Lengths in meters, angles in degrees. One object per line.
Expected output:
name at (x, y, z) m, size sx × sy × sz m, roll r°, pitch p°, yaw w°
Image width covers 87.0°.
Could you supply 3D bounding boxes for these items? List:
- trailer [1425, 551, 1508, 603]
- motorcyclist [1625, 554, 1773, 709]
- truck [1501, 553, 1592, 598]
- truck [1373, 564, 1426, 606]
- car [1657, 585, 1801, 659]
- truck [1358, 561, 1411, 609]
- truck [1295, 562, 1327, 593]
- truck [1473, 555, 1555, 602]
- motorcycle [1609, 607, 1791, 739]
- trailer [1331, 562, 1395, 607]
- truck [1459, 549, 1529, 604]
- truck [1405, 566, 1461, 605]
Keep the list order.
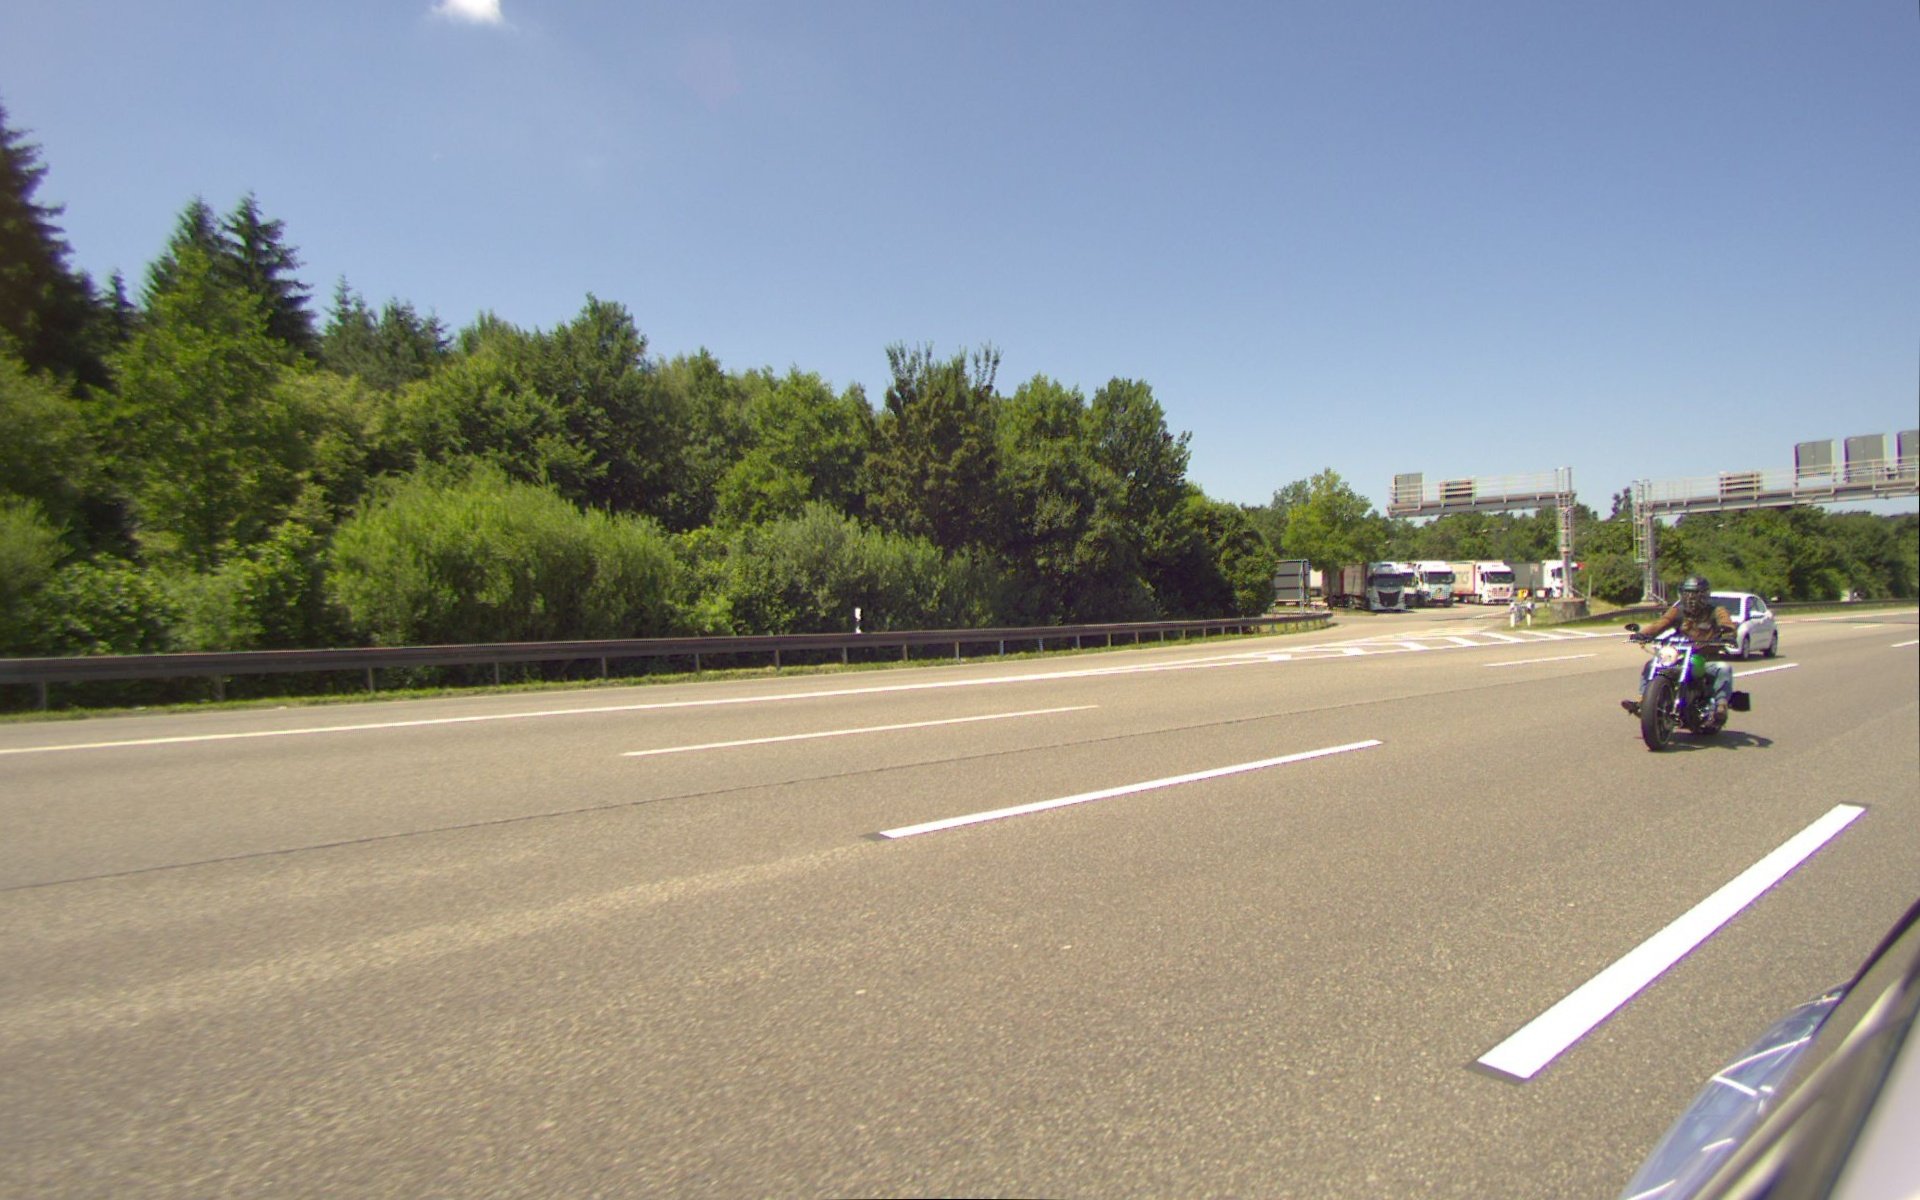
trailer at (49.865, -2.292, 100.133) m, size 3.225 × 4.766 × 12.041 m, roll -2°, pitch 1°, yaw 6°
motorcyclist at (7.335, 0.279, 10.061) m, size 1.003 × 1.445 × 0.856 m, roll -1°, pitch 1°, yaw -30°
truck at (63.084, -2.506, 109.367) m, size 2.782 × 4.516 × 14.618 m, roll 0°, pitch 0°, yaw 6°
truck at (38.936, -1.403, 90.009) m, size 2.416 × 3.472 × 8.998 m, roll -2°, pitch 1°, yaw 12°
car at (17.707, 0.439, 23.241) m, size 4.405 × 1.538 × 1.753 m, roll 0°, pitch 0°, yaw -41°
truck at (34.178, -1.262, 81.699) m, size 2.454 × 3.656 × 6.308 m, roll -2°, pitch 1°, yaw 10°
truck at (46.444, -2.974, 134.157) m, size 2.417 × 3.868 × 8.793 m, roll -2°, pitch 1°, yaw 9°
truck at (57.611, -2.291, 105.677) m, size 2.781 × 4.515 × 12.049 m, roll -2°, pitch 1°, yaw 5°
motorcycle at (7.383, 0.673, 10.050) m, size 2.388 × 1.150 × 0.538 m, roll -1°, pitch 1°, yaw -30°
trailer at (35.569, -1.425, 89.893) m, size 2.465 × 3.659 × 13.332 m, roll -2°, pitch 1°, yaw 10°
truck at (49.188, -2.178, 93.473) m, size 3.210 × 4.783 × 7.178 m, roll -2°, pitch 1°, yaw 7°
truck at (41.988, -1.333, 90.106) m, size 2.416 × 3.163 × 8.998 m, roll -2°, pitch 1°, yaw 12°
